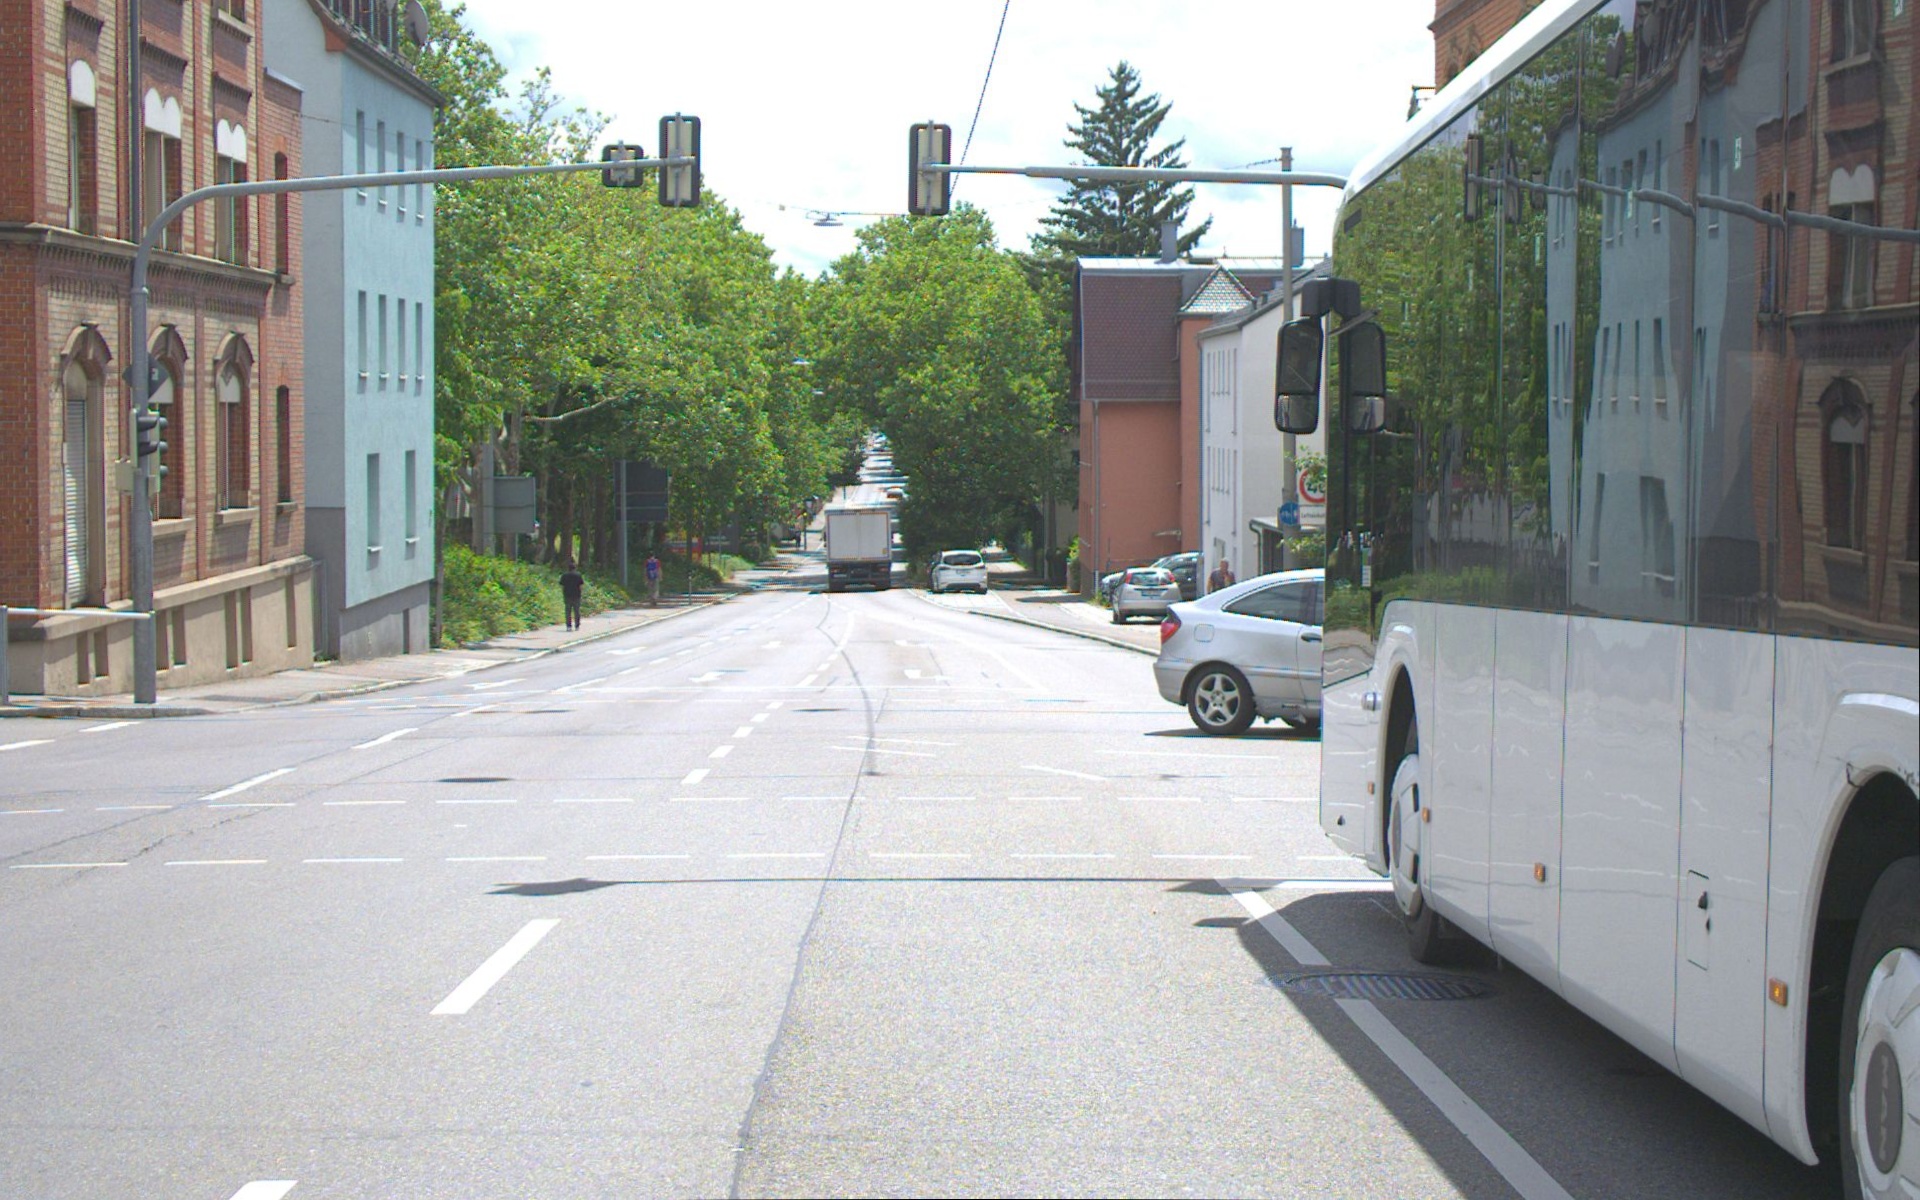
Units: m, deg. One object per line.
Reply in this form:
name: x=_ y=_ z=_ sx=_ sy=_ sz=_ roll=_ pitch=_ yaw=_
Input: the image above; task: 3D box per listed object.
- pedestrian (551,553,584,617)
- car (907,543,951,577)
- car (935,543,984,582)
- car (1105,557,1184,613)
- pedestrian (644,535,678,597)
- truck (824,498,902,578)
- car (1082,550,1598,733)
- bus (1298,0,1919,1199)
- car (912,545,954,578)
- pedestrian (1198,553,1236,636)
pedestrian: x=-9.656 y=-0.365 z=84.594 sx=0.729 sy=1.560 sz=0.561 roll=0 pitch=1 yaw=-1
car: x=-1.300 y=-1.714 z=145.834 sx=1.794 sy=1.405 sz=4.419 roll=1 pitch=1 yaw=0
car: x=-0.031 y=-1.423 z=129.628 sx=1.794 sy=1.405 sz=4.000 roll=1 pitch=1 yaw=-1
car: x=4.975 y=-0.413 z=93.081 sx=1.794 sy=1.405 sz=4.001 roll=-1 pitch=1 yaw=-2
pedestrian: x=-9.808 y=-1.109 z=112.668 sx=0.995 sy=2.007 sz=1.189 roll=-1 pitch=1 yaw=-1
truck: x=-3.970 y=-2.518 z=138.857 sx=2.926 sy=3.070 sz=7.887 roll=-1 pitch=1 yaw=-3
car: x=3.164 y=0.313 z=28.945 sx=3.995 sy=1.422 sz=1.701 roll=0 pitch=1 yaw=37
bus: x=2.942 y=-0.181 z=9.269 sx=2.672 sy=3.145 sz=12.462 roll=1 pitch=1 yaw=-1
car: x=-1.201 y=-1.727 z=153.941 sx=1.794 sy=1.405 sz=4.419 roll=1 pitch=1 yaw=0
pedestrian: x=5.442 y=-0.125 z=72.855 sx=0.738 sy=1.744 sz=0.619 roll=-1 pitch=1 yaw=-1
